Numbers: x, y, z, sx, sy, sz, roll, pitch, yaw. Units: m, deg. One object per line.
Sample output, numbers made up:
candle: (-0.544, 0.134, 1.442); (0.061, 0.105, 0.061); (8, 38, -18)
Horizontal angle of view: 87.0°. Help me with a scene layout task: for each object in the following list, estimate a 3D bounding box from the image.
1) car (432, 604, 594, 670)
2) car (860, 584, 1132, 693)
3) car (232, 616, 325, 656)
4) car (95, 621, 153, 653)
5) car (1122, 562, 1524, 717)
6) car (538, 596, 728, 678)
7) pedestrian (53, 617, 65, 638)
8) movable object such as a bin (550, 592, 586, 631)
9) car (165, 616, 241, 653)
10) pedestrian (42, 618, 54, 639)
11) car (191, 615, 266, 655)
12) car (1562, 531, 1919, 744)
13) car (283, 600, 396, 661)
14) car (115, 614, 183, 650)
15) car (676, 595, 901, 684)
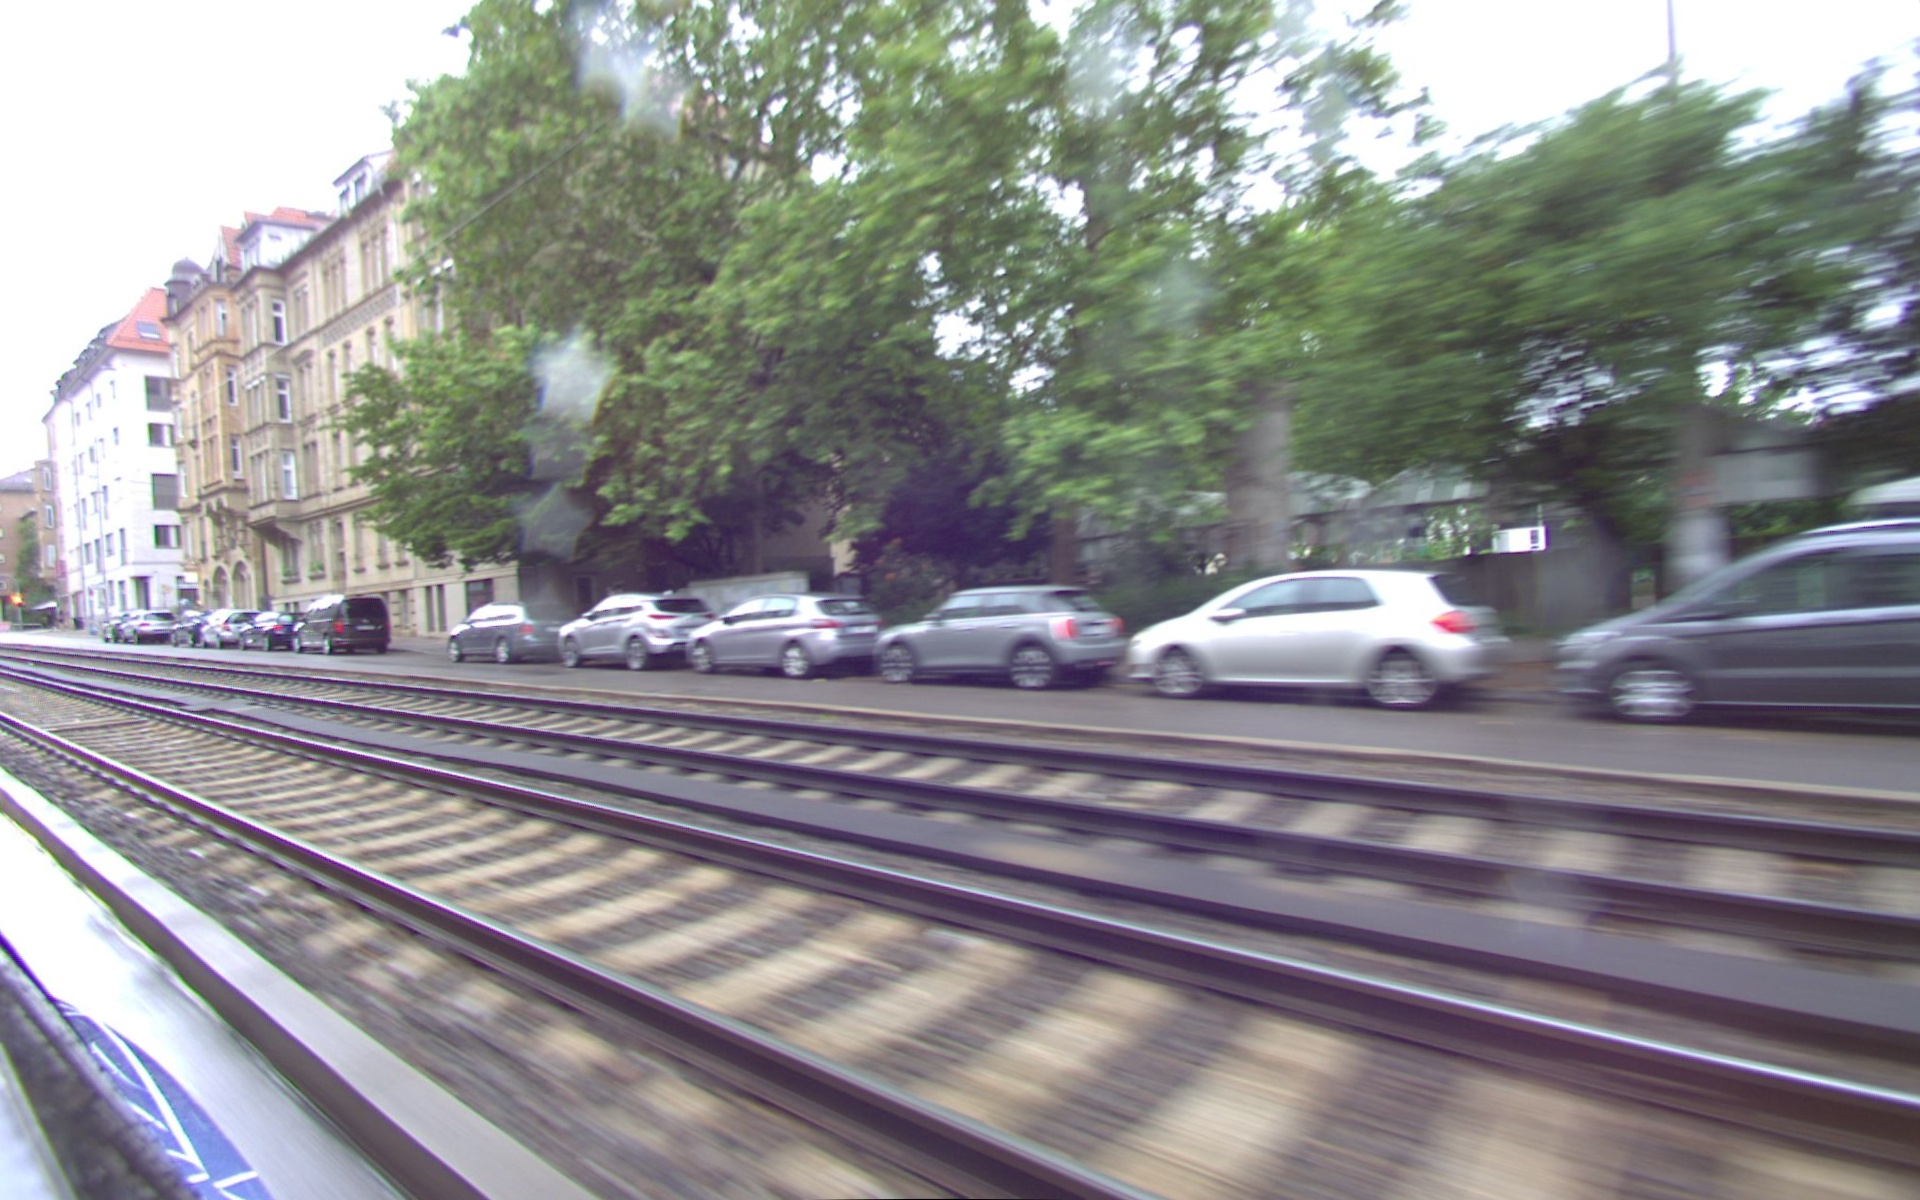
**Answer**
car: (-11.082, 0.900, 24.962); (4.545, 1.475, 1.831); (-2, -2, 39)
car: (0.439, 0.554, 15.036); (3.950, 1.424, 1.524); (-2, -2, 40)
car: (-25.255, 1.320, 37.428); (4.266, 1.409, 1.745); (-2, -1, 40)
car: (-45.113, 1.988, 54.588); (4.429, 1.614, 1.838); (-2, -1, 43)
car: (4.088, 0.444, 11.835); (4.151, 1.517, 1.524); (-2, -2, 40)
car: (-6.995, 0.763, 21.397); (4.540, 1.548, 1.736); (-2, -2, 41)
pedestrian: (-75.567, 2.320, 84.898); (0.658, 1.731, 0.595); (-2, 3, 43)
movable object such as a bin: (-11.610, 0.335, 29.963); (0.773, 1.128, 0.709); (-2, 1, 43)
car: (-33.514, 1.508, 44.753); (4.167, 1.519, 1.851); (-2, -1, 41)
pedestrian: (-76.036, 2.377, 84.390); (0.746, 1.731, 0.595); (-2, 3, 43)
car: (-29.808, 1.409, 41.230); (3.853, 1.535, 1.677); (-2, -1, 41)
car: (7.681, 0.311, 8.720); (4.068, 1.655, 1.560); (-2, -2, 40)
car: (-20.360, 0.979, 33.116); (4.815, 1.861, 1.782); (-2, -1, 41)
car: (-41.125, 1.623, 51.276); (4.311, 1.665, 1.840); (-2, 0, 40)
car: (-3.167, 0.693, 18.219); (4.150, 1.424, 1.736); (-2, -2, 40)
